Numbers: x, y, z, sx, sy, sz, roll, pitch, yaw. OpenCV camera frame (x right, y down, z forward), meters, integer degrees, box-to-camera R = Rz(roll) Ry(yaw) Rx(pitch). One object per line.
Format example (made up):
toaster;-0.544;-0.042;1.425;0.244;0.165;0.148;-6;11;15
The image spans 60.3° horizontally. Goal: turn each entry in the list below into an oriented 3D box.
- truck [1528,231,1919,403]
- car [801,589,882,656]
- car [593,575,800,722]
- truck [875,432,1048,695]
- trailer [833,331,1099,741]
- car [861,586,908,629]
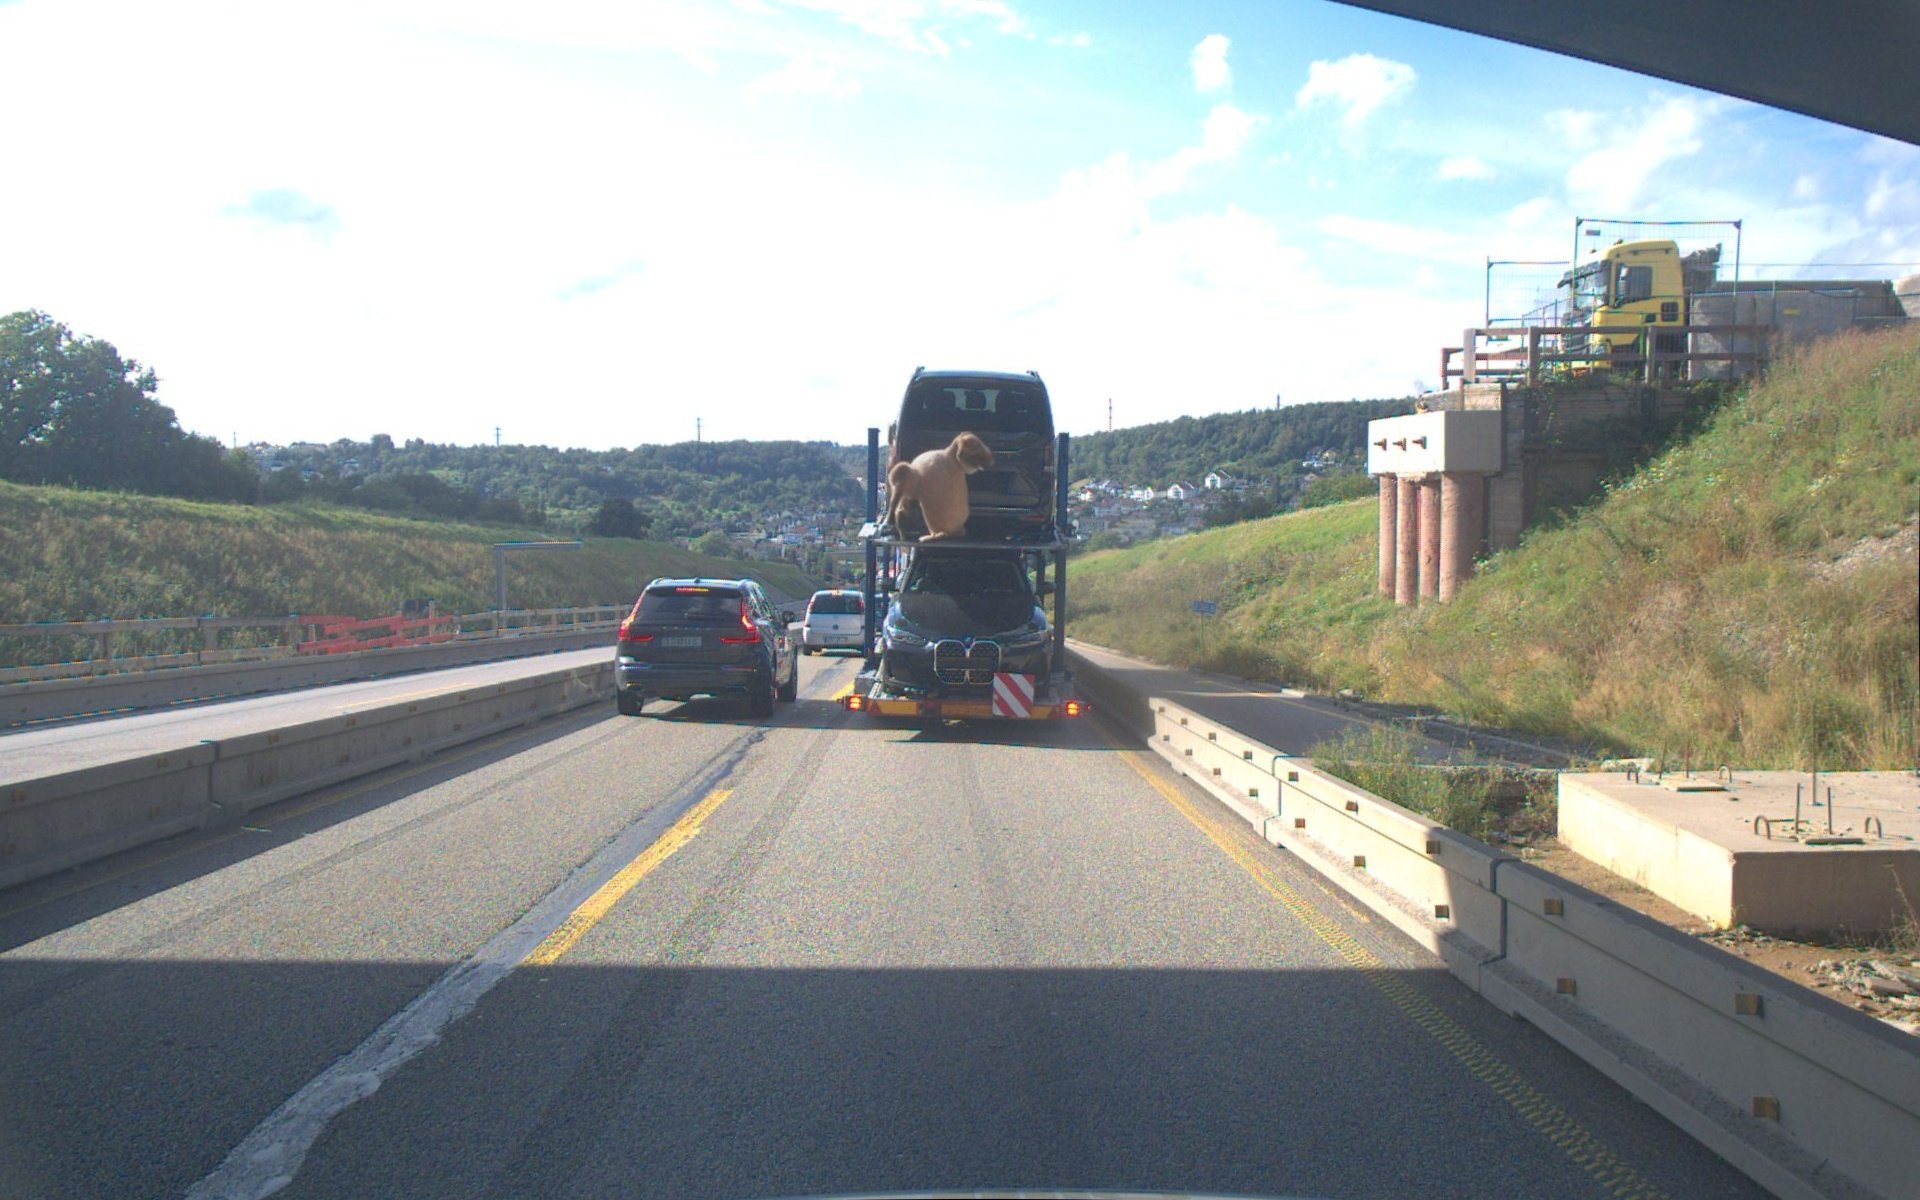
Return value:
truck;17.772;-6.260;37.087;9.076;3.284;2.959;0;0;-2
car;-2.971;0.528;42.270;1.759;1.624;4.742;0;0;-1
car;-3.245;0.533;21.307;1.953;1.653;4.749;1;0;-1
truck;0.041;-0.560;28.140;2.623;3.990;6.027;0;0;0
trailer;0.032;-0.651;22.325;2.653;4.099;11.418;0;0;0
car;-2.857;0.257;63.052;1.760;1.557;4.293;0;0;-2
